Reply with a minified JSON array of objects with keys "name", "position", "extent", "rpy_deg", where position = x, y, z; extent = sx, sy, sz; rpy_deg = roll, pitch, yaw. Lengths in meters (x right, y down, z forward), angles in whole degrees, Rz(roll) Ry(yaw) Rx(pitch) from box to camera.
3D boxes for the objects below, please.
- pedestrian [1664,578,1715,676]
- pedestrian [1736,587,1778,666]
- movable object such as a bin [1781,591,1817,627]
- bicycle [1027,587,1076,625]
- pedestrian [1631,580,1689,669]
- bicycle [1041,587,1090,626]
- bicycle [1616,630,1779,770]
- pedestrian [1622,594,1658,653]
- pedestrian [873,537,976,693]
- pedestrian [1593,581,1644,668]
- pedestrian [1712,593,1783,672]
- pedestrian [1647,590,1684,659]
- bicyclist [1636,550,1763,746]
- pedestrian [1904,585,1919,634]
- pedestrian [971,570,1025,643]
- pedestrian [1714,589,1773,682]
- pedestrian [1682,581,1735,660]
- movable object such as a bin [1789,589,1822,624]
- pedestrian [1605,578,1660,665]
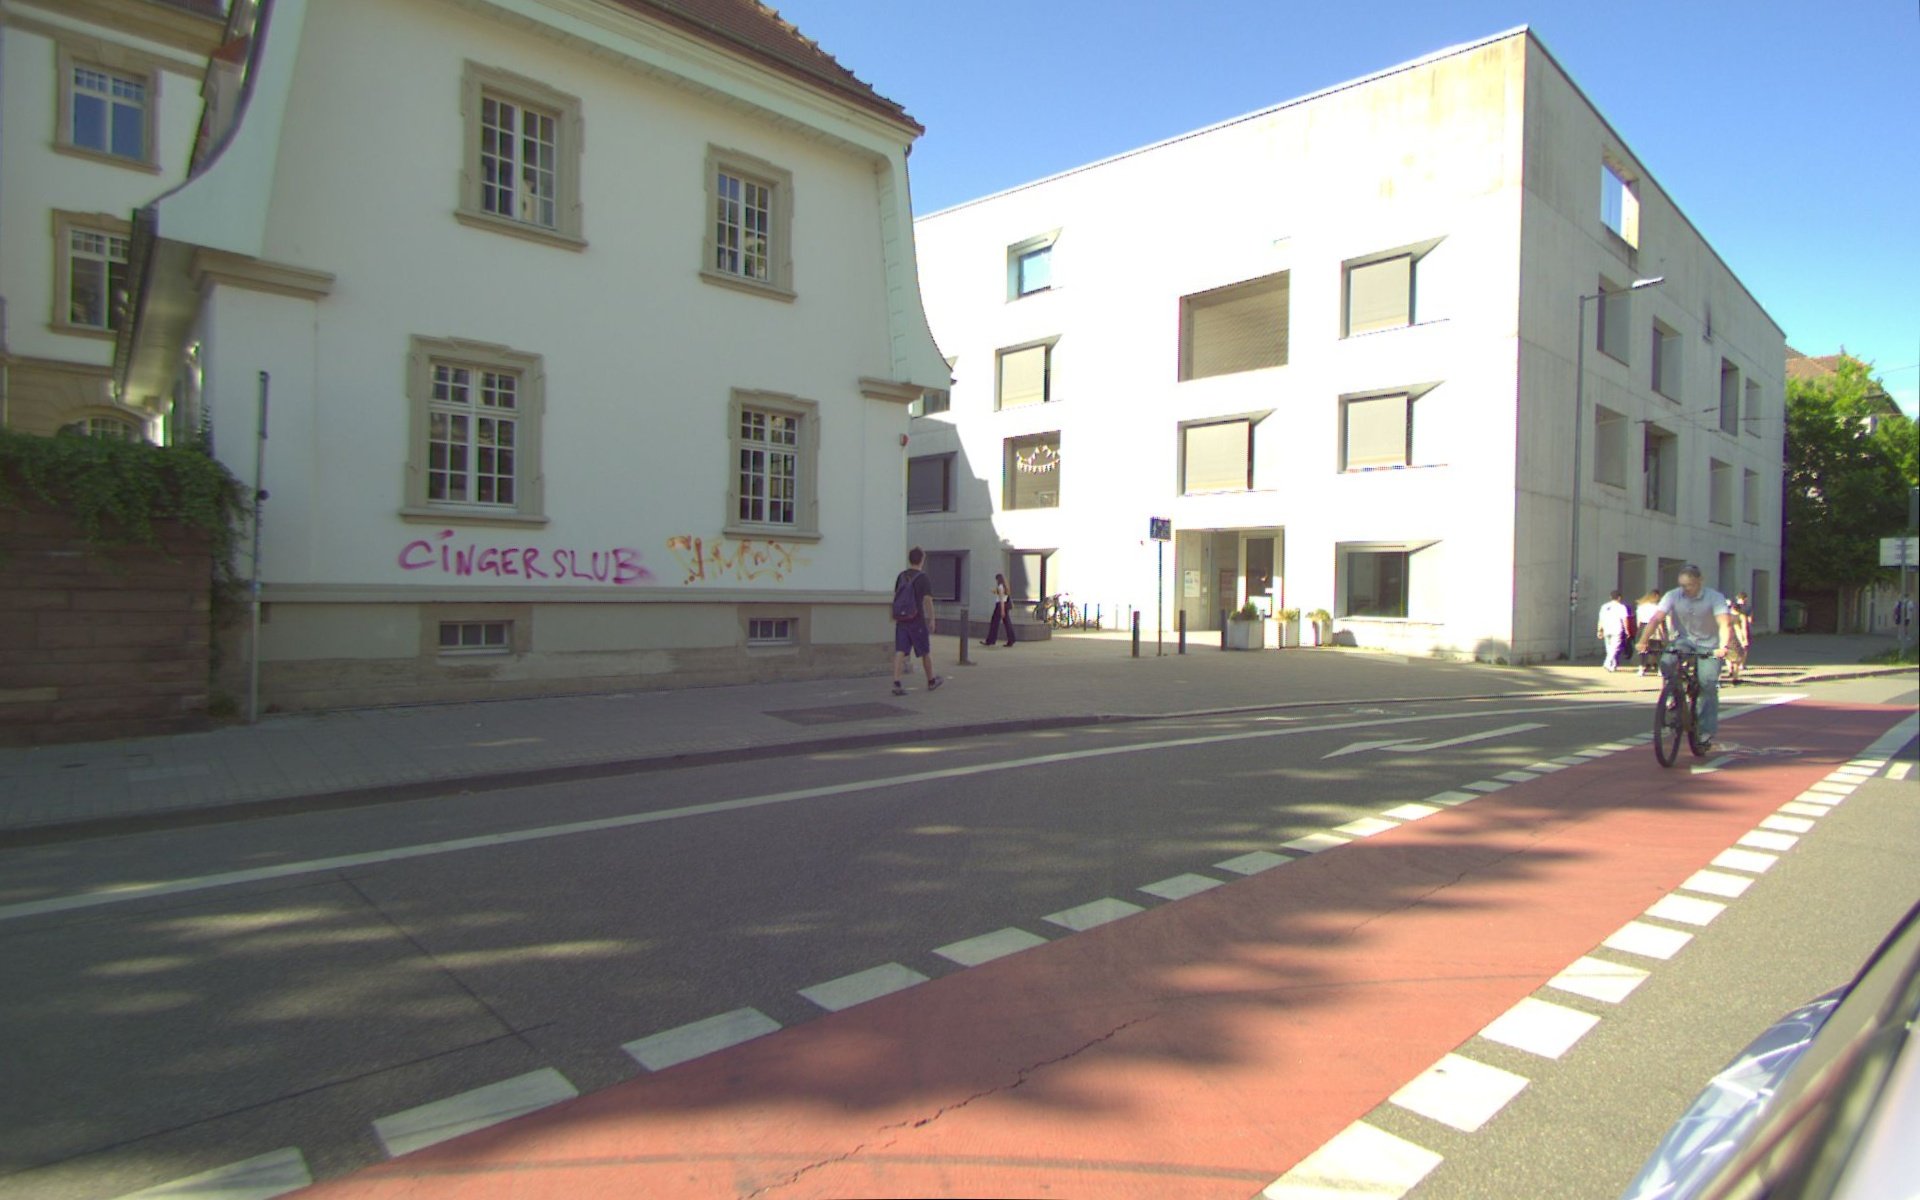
[{"name":"pedestrian","position":[14.772,0.535,20.498],"extent":[0.600,1.925,0.521],"rpy_deg":[1,4,-34]},{"name":"pedestrian","position":[18.318,0.596,23.262],"extent":[0.802,1.748,0.496],"rpy_deg":[0,5,-42]},{"name":"movable object such as a bin","position":[35.264,0.381,42.515],"extent":[1.331,1.481,0.935],"rpy_deg":[0,1,-40]},{"name":"bicycle","position":[2.765,0.159,30.432],"extent":[1.563,1.108,0.498],"rpy_deg":[-1,2,-38]},{"name":"pedestrian","position":[14.655,0.519,21.198],"extent":[0.720,1.795,0.531],"rpy_deg":[2,4,-22]},{"name":"bicycle","position":[3.141,0.184,30.098],"extent":[1.558,1.108,0.498],"rpy_deg":[0,1,-38]},{"name":"bicycle","position":[6.873,0.860,9.389],"extent":[2.074,1.108,0.740],"rpy_deg":[0,-1,-40]},{"name":"pedestrian","position":[16.760,0.562,24.946],"extent":[0.751,1.422,0.519],"rpy_deg":[0,1,-39]},{"name":"pedestrian","position":[-0.459,0.175,13.175],"extent":[1.114,1.927,0.639],"rpy_deg":[0,3,-41]},{"name":"pedestrian","position":[14.136,0.514,21.740],"extent":[0.641,1.795,0.611],"rpy_deg":[0,5,-40]},{"name":"pedestrian","position":[17.116,0.693,21.995],"extent":[0.876,1.623,0.833],"rpy_deg":[1,5,-31]},{"name":"pedestrian","position":[16.978,0.571,24.343],"extent":[0.751,1.620,0.519],"rpy_deg":[0,1,-39]},{"name":"bicyclist","position":[6.871,0.419,9.401],"extent":[0.954,1.707,0.740],"rpy_deg":[0,-1,-40]},{"name":"pedestrian","position":[37.124,0.363,39.203],"extent":[0.939,1.872,0.685],"rpy_deg":[0,2,-43]},{"name":"pedestrian","position":[0.899,0.139,23.904],"extent":[0.990,1.660,0.846],"rpy_deg":[2,2,44]},{"name":"pedestrian","position":[15.509,0.696,20.037],"extent":[0.704,1.767,0.609],"rpy_deg":[1,4,-34]},{"name":"pedestrian","position":[17.642,0.471,23.842],"extent":[0.938,1.783,0.649],"rpy_deg":[0,5,-39]},{"name":"movable object such as a bin","position":[36.616,0.262,43.840],"extent":[1.309,1.481,0.934],"rpy_deg":[0,1,-43]},{"name":"pedestrian","position":[14.789,0.461,22.254],"extent":[0.717,1.824,0.660],"rpy_deg":[1,4,-34]}]
